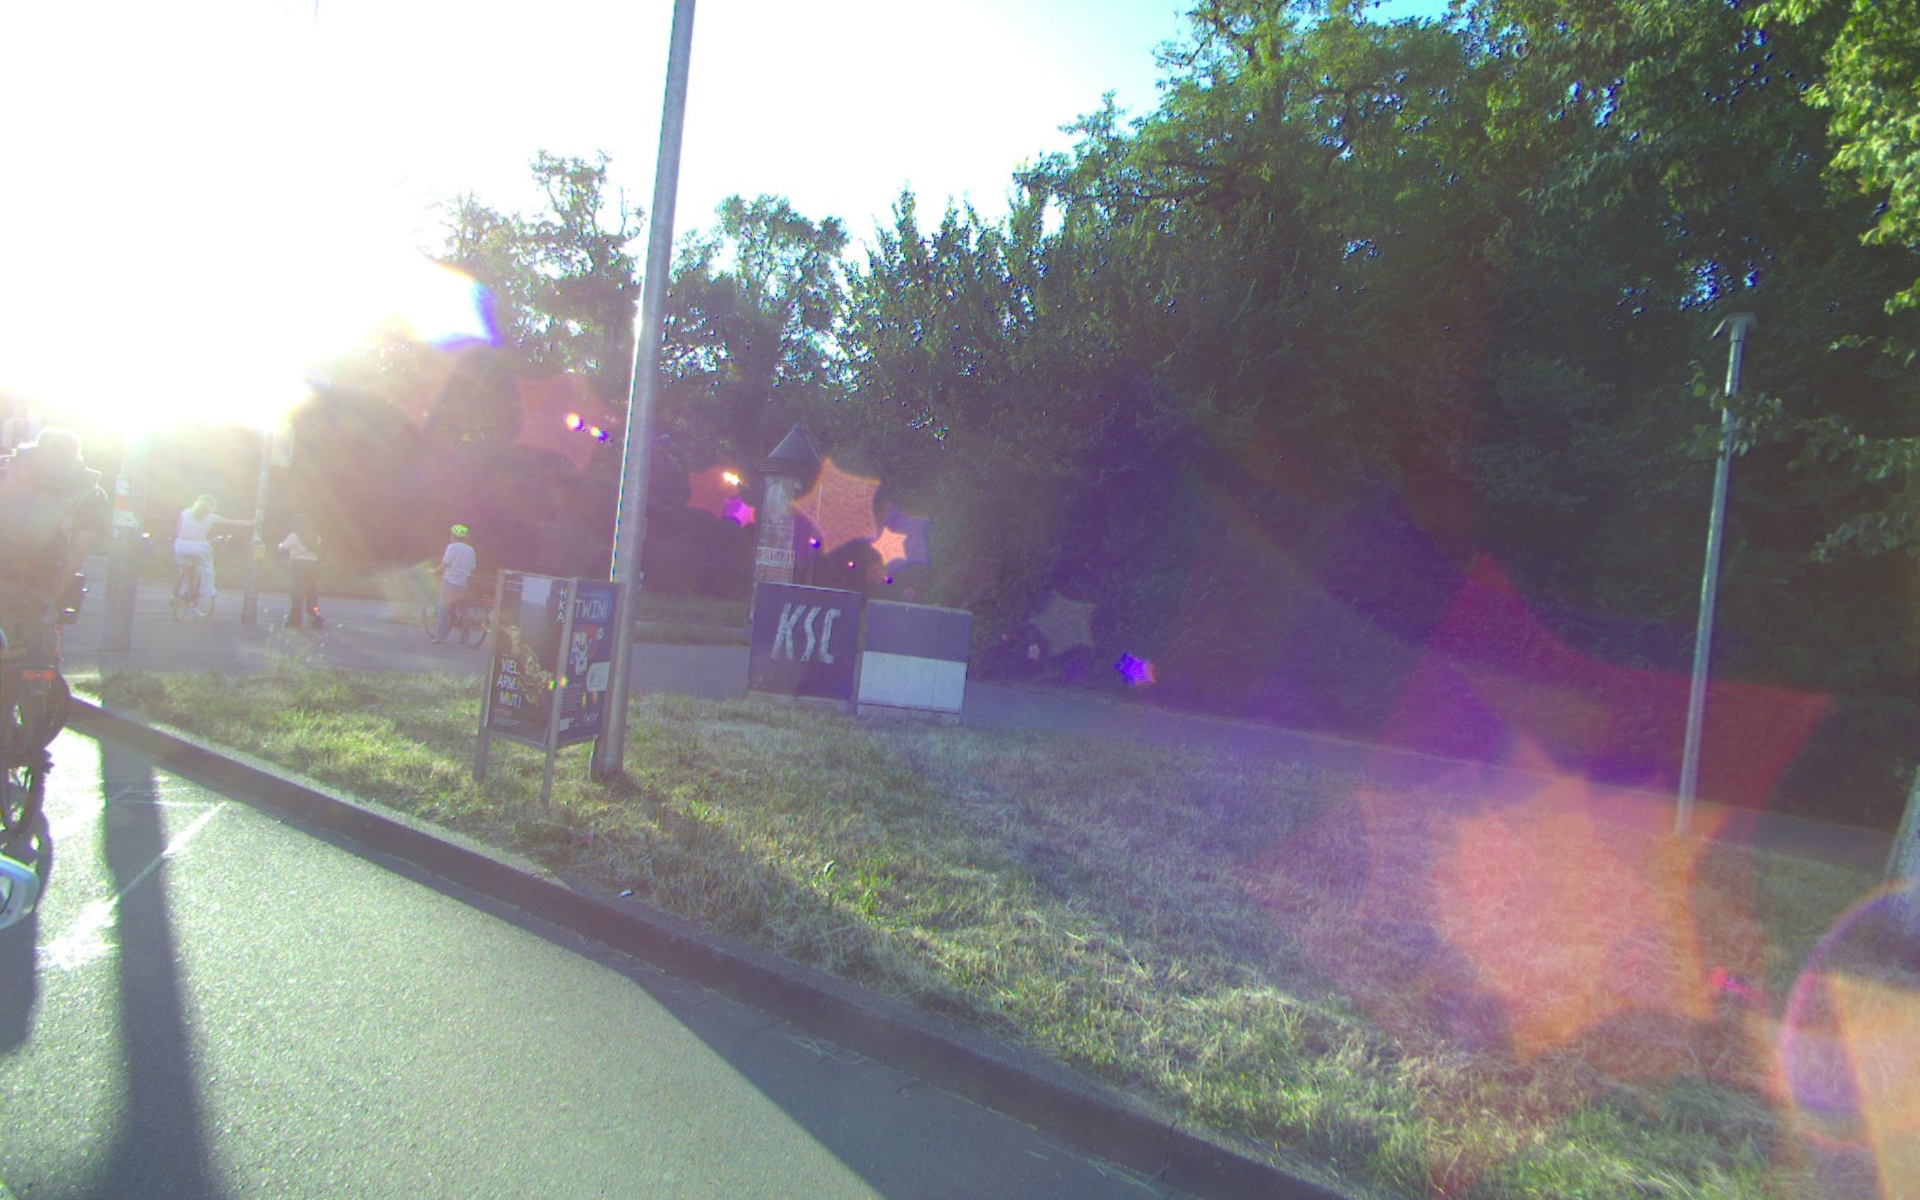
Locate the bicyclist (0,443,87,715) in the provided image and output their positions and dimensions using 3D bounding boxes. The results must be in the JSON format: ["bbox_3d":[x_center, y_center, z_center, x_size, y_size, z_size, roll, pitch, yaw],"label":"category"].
[{"bbox_3d":[-6.038,-0.155,6.210,0.895,1.605,0.604,7,0,32],"label":"bicyclist"}]

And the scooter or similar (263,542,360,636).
[{"bbox_3d":[-9.383,-0.167,14.548,1.399,1.204,0.562,6,0,33],"label":"scooter or similar"}]

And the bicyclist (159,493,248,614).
[{"bbox_3d":[-10.478,-0.638,13.959,0.754,1.536,0.850,7,0,-31],"label":"bicyclist"}]

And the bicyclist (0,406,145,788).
[{"bbox_3d":[-4.517,-0.028,4.764,0.786,1.687,0.698,7,-1,37],"label":"bicyclist"}]

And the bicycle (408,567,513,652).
[{"bbox_3d":[-7.275,0.130,14.621,1.775,1.027,0.563,7,1,37],"label":"bicycle"}]

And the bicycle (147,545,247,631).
[{"bbox_3d":[-10.499,-0.192,13.913,0.765,1.019,2.000,7,-1,-30],"label":"bicycle"}]

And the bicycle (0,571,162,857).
[{"bbox_3d":[-4.526,0.447,4.725,1.797,1.075,0.699,6,-1,37],"label":"bicycle"}]

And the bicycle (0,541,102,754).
[{"bbox_3d":[-6.149,0.219,6.255,1.853,1.151,0.614,7,0,32],"label":"bicycle"}]

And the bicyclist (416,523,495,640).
[{"bbox_3d":[-7.332,-0.265,14.628,0.885,1.589,0.554,7,1,37],"label":"bicyclist"}]

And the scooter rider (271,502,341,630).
[{"bbox_3d":[-9.520,-0.488,14.648,0.497,1.788,0.566,6,0,33],"label":"scooter rider"}]
